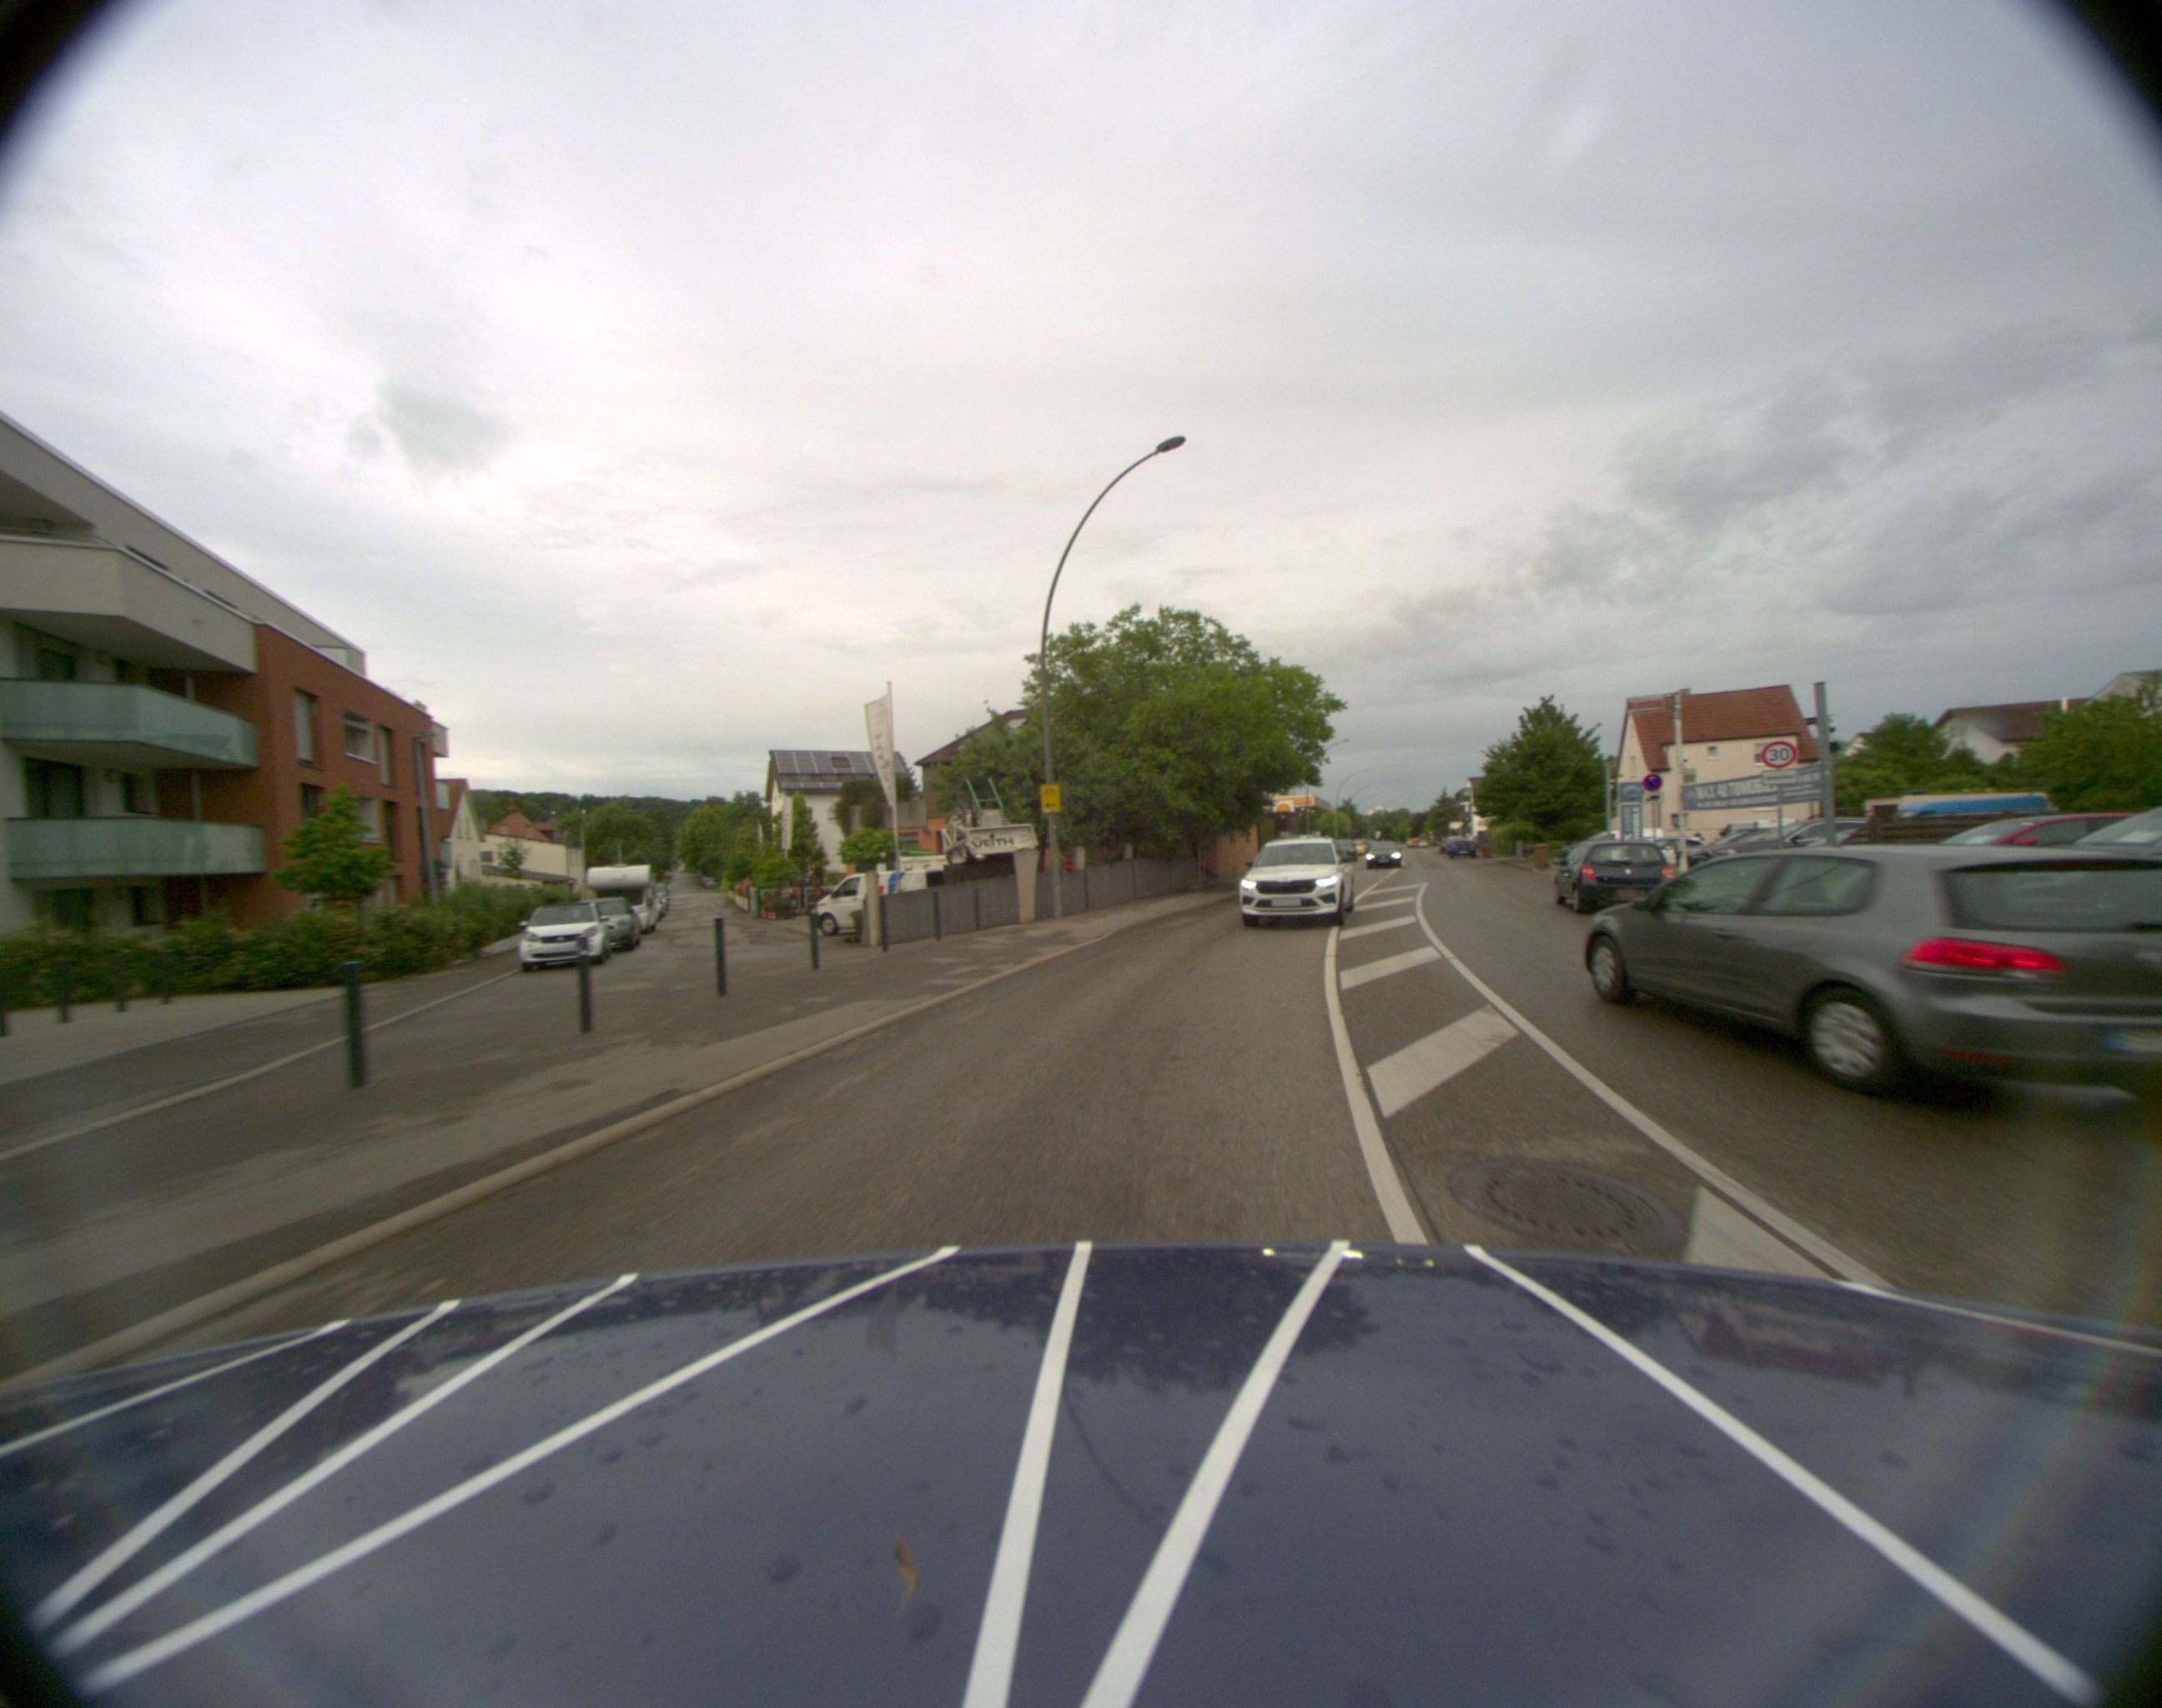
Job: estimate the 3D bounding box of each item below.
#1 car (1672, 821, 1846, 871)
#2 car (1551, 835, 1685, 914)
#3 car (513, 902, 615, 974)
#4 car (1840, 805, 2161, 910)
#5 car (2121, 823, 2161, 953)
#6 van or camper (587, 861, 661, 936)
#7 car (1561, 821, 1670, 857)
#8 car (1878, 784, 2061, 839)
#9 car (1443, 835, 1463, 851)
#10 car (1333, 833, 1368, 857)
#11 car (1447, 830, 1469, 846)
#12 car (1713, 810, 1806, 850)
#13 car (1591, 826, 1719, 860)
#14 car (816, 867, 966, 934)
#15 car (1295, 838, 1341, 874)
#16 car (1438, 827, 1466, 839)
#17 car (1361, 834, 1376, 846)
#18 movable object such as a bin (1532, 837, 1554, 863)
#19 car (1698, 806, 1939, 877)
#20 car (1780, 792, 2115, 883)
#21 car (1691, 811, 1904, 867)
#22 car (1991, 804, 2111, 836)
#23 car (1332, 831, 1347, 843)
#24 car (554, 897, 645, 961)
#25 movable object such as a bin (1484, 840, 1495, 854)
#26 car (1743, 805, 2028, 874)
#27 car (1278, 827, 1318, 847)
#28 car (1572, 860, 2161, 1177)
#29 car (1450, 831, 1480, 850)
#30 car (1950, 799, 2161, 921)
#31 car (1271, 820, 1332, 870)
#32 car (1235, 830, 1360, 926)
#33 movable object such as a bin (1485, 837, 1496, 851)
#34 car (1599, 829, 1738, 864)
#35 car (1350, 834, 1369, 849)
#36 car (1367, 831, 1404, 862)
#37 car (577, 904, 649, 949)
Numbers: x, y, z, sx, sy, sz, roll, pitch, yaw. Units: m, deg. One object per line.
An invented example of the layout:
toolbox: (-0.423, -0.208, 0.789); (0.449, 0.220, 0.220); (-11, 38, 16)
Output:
car: (22.826, -0.263, 25.787); (3.991, 1.455, 1.842); (-2, 1, 24)
car: (11.128, 0.361, 15.999); (1.628, 1.425, 3.689); (-2, 1, 24)
car: (-12.798, 2.029, 18.962); (1.730, 1.463, 2.738); (-3, -1, -28)
car: (16.066, 0.067, 12.955); (3.991, 1.535, 1.806); (-3, 0, 25)
car: (13.588, 0.290, 7.207); (3.991, 1.433, 1.806); (-3, 0, 25)
van or camper: (-20.575, 1.935, 34.457); (2.329, 2.977, 5.939); (-3, 0, -27)
car: (29.473, -0.798, 42.094); (4.563, 1.780, 1.900); (-2, 1, 19)
car: (44.784, -2.095, 38.487); (5.675, 2.361, 2.050); (-3, 1, 23)
car: (36.541, -1.125, 74.721); (1.610, 1.498, 3.712); (0, 1, 23)
car: (20.671, -0.702, 58.234); (2.093, 1.652, 4.566); (-3, -1, 24)
car: (33.845, -1.476, 68.206); (1.547, 1.395, 3.602); (0, 1, 23)
car: (35.966, -1.251, 40.456); (1.995, 1.919, 5.060); (-1, 1, 21)
car: (26.562, -0.497, 35.343); (4.380, 1.366, 1.892); (-2, 1, 23)
car: (-5.961, 1.451, 23.903); (4.127, 1.859, 2.003); (-3, 0, 24)
car: (12.296, 0.082, 39.259); (1.867, 1.655, 4.326); (-3, 1, 22)
car: (65.393, -3.684, 133.981); (3.992, 1.637, 2.003); (-6, -1, 21)
car: (41.071, -1.991, 108.434); (1.995, 1.587, 4.006); (-1, 1, 22)
movable object such as a bin: (20.950, -0.174, 34.449); (0.708, 1.123, 0.736); (-3, 1, 23)
car: (20.261, -0.317, 21.159); (4.351, 1.682, 2.061); (-2, 1, 24)
car: (18.391, -0.312, 16.468); (4.351, 1.681, 1.962); (-2, 1, 24)
car: (21.787, -0.432, 23.355); (4.351, 1.455, 1.944); (-2, 1, 24)
car: (45.451, -1.556, 35.671); (3.226, 1.325, 1.340); (-2, 1, 21)
car: (38.050, -2.502, 111.746); (1.996, 1.673, 4.005); (-2, 0, 18)
car: (-14.668, 2.203, 23.340); (1.855, 1.533, 4.119); (-3, 0, -26)
movable object such as a bin: (28.652, -0.506, 53.311); (0.540, 0.905, 0.506); (-5, 0, 22)
car: (19.359, -0.325, 18.601); (4.351, 1.423, 1.962); (-2, 1, 24)
car: (29.580, -2.356, 103.687); (4.800, 2.506, 2.247); (-2, 1, 1)
car: (5.479, 0.793, 5.439); (1.727, 1.447, 4.003); (1, -1, 7)
car: (29.407, -1.068, 58.246); (1.808, 1.395, 3.950); (0, 1, 23)
car: (14.891, 0.013, 10.090); (3.991, 1.535, 1.806); (-3, 0, 25)
car: (9.970, -0.409, 34.099); (1.779, 2.017, 4.761); (-3, -1, 25)
car: (4.593, 0.392, 15.570); (1.881, 1.650, 4.838); (-1, 0, 23)
movable object such as a bin: (28.490, -0.672, 52.845); (0.540, 0.905, 0.425); (-5, 0, 22)
car: (25.302, -0.306, 32.928); (4.455, 1.324, 1.774); (-2, 1, 23)
car: (28.789, -1.328, 78.372); (1.658, 1.394, 3.807); (-2, 1, 22)
car: (17.023, -0.422, 42.536); (1.775, 1.552, 4.006); (-3, 0, 22)
car: (-17.037, 2.582, 27.826); (1.781, 1.246, 4.119); (-3, 0, -26)
